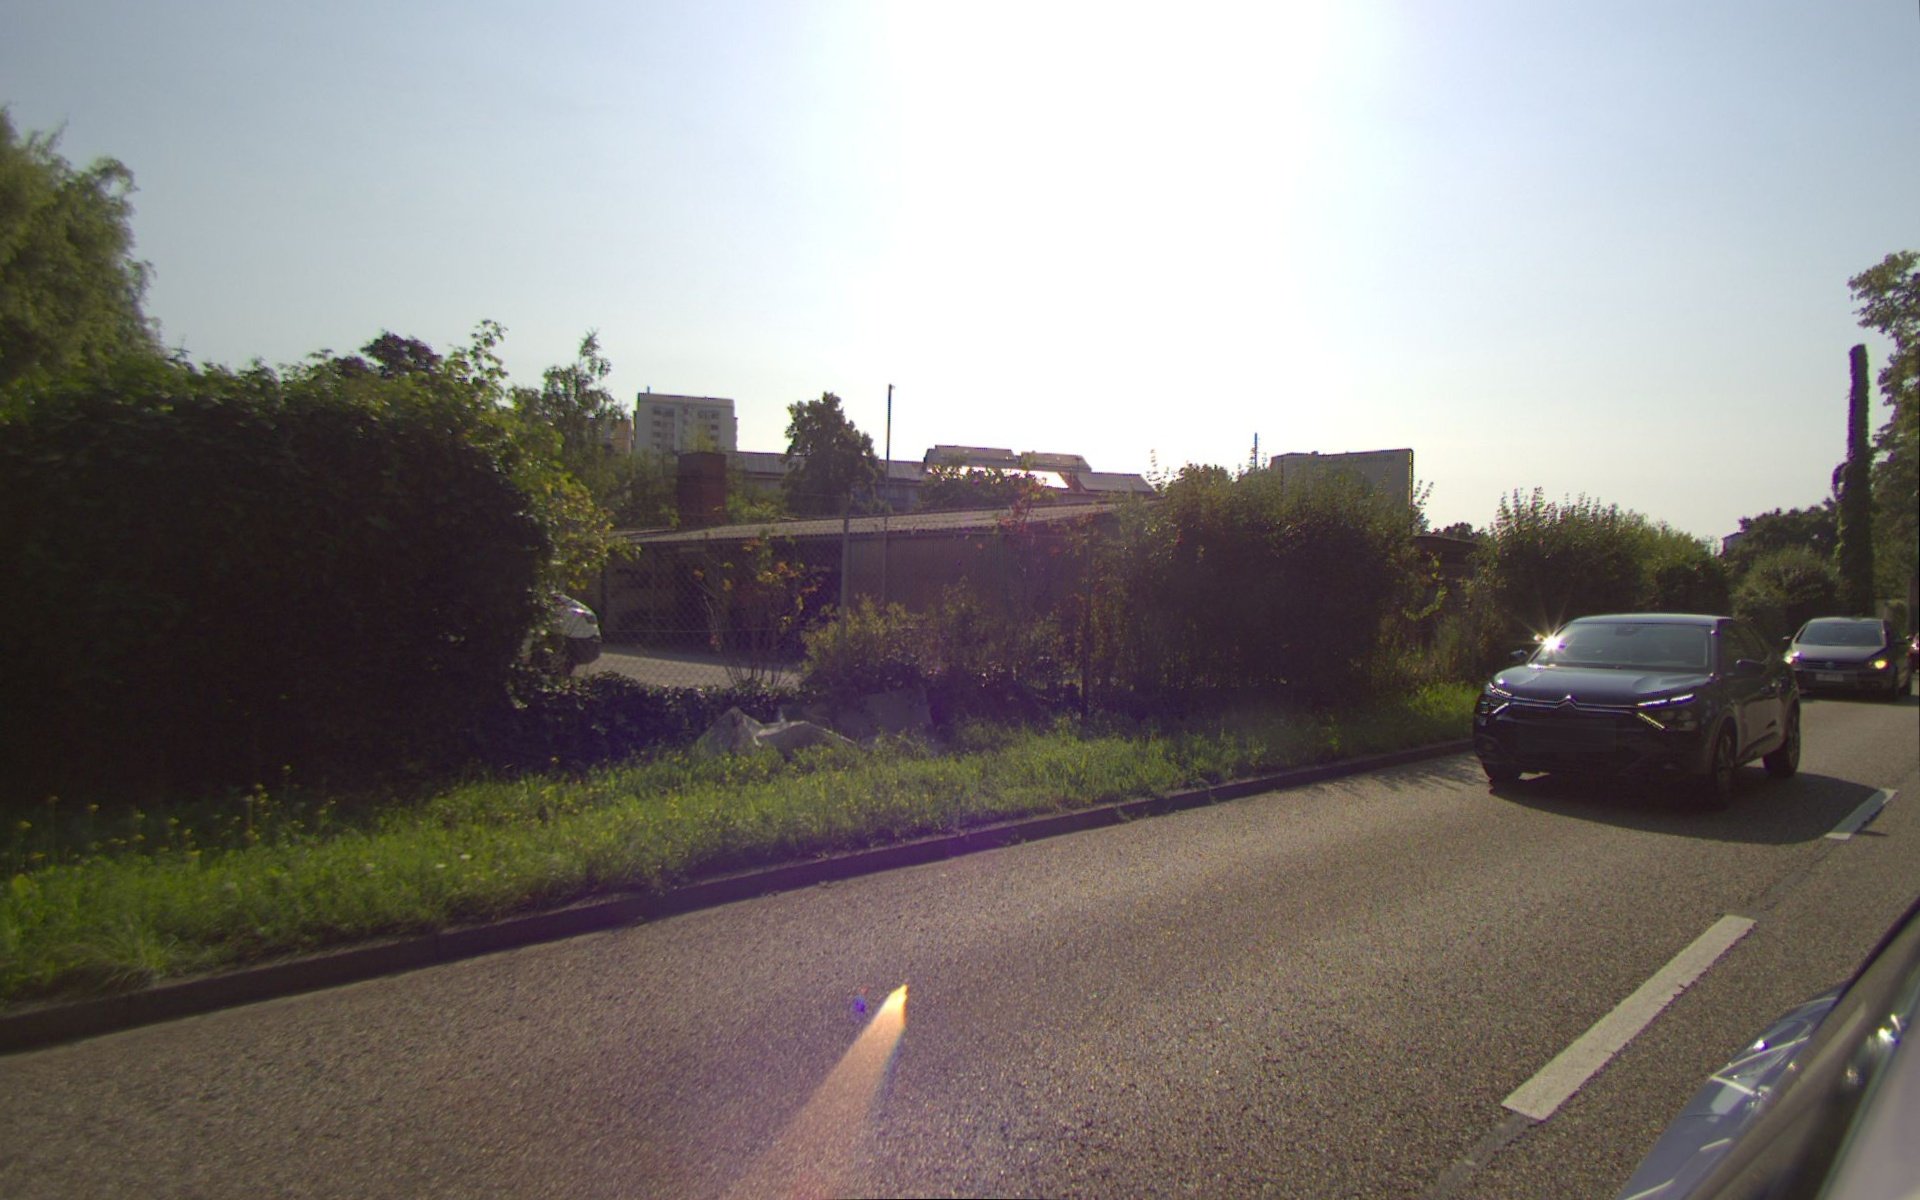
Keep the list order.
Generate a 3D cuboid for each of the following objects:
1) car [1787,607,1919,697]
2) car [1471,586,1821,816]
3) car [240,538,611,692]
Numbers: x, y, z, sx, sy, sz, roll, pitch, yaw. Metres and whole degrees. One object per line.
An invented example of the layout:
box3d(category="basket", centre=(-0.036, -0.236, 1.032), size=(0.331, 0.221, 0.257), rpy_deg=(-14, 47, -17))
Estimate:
box3d(category="car", centre=(17.946, 0.957, 20.197), size=(3.831, 1.576, 1.648), rpy_deg=(1, 1, -42))
box3d(category="car", centre=(6.369, 0.719, 9.197), size=(4.181, 1.608, 1.648), rpy_deg=(1, 1, -42))
box3d(category="car", centre=(-7.779, 0.203, 15.081), size=(1.747, 1.949, 4.591), rpy_deg=(0, 0, 45))
